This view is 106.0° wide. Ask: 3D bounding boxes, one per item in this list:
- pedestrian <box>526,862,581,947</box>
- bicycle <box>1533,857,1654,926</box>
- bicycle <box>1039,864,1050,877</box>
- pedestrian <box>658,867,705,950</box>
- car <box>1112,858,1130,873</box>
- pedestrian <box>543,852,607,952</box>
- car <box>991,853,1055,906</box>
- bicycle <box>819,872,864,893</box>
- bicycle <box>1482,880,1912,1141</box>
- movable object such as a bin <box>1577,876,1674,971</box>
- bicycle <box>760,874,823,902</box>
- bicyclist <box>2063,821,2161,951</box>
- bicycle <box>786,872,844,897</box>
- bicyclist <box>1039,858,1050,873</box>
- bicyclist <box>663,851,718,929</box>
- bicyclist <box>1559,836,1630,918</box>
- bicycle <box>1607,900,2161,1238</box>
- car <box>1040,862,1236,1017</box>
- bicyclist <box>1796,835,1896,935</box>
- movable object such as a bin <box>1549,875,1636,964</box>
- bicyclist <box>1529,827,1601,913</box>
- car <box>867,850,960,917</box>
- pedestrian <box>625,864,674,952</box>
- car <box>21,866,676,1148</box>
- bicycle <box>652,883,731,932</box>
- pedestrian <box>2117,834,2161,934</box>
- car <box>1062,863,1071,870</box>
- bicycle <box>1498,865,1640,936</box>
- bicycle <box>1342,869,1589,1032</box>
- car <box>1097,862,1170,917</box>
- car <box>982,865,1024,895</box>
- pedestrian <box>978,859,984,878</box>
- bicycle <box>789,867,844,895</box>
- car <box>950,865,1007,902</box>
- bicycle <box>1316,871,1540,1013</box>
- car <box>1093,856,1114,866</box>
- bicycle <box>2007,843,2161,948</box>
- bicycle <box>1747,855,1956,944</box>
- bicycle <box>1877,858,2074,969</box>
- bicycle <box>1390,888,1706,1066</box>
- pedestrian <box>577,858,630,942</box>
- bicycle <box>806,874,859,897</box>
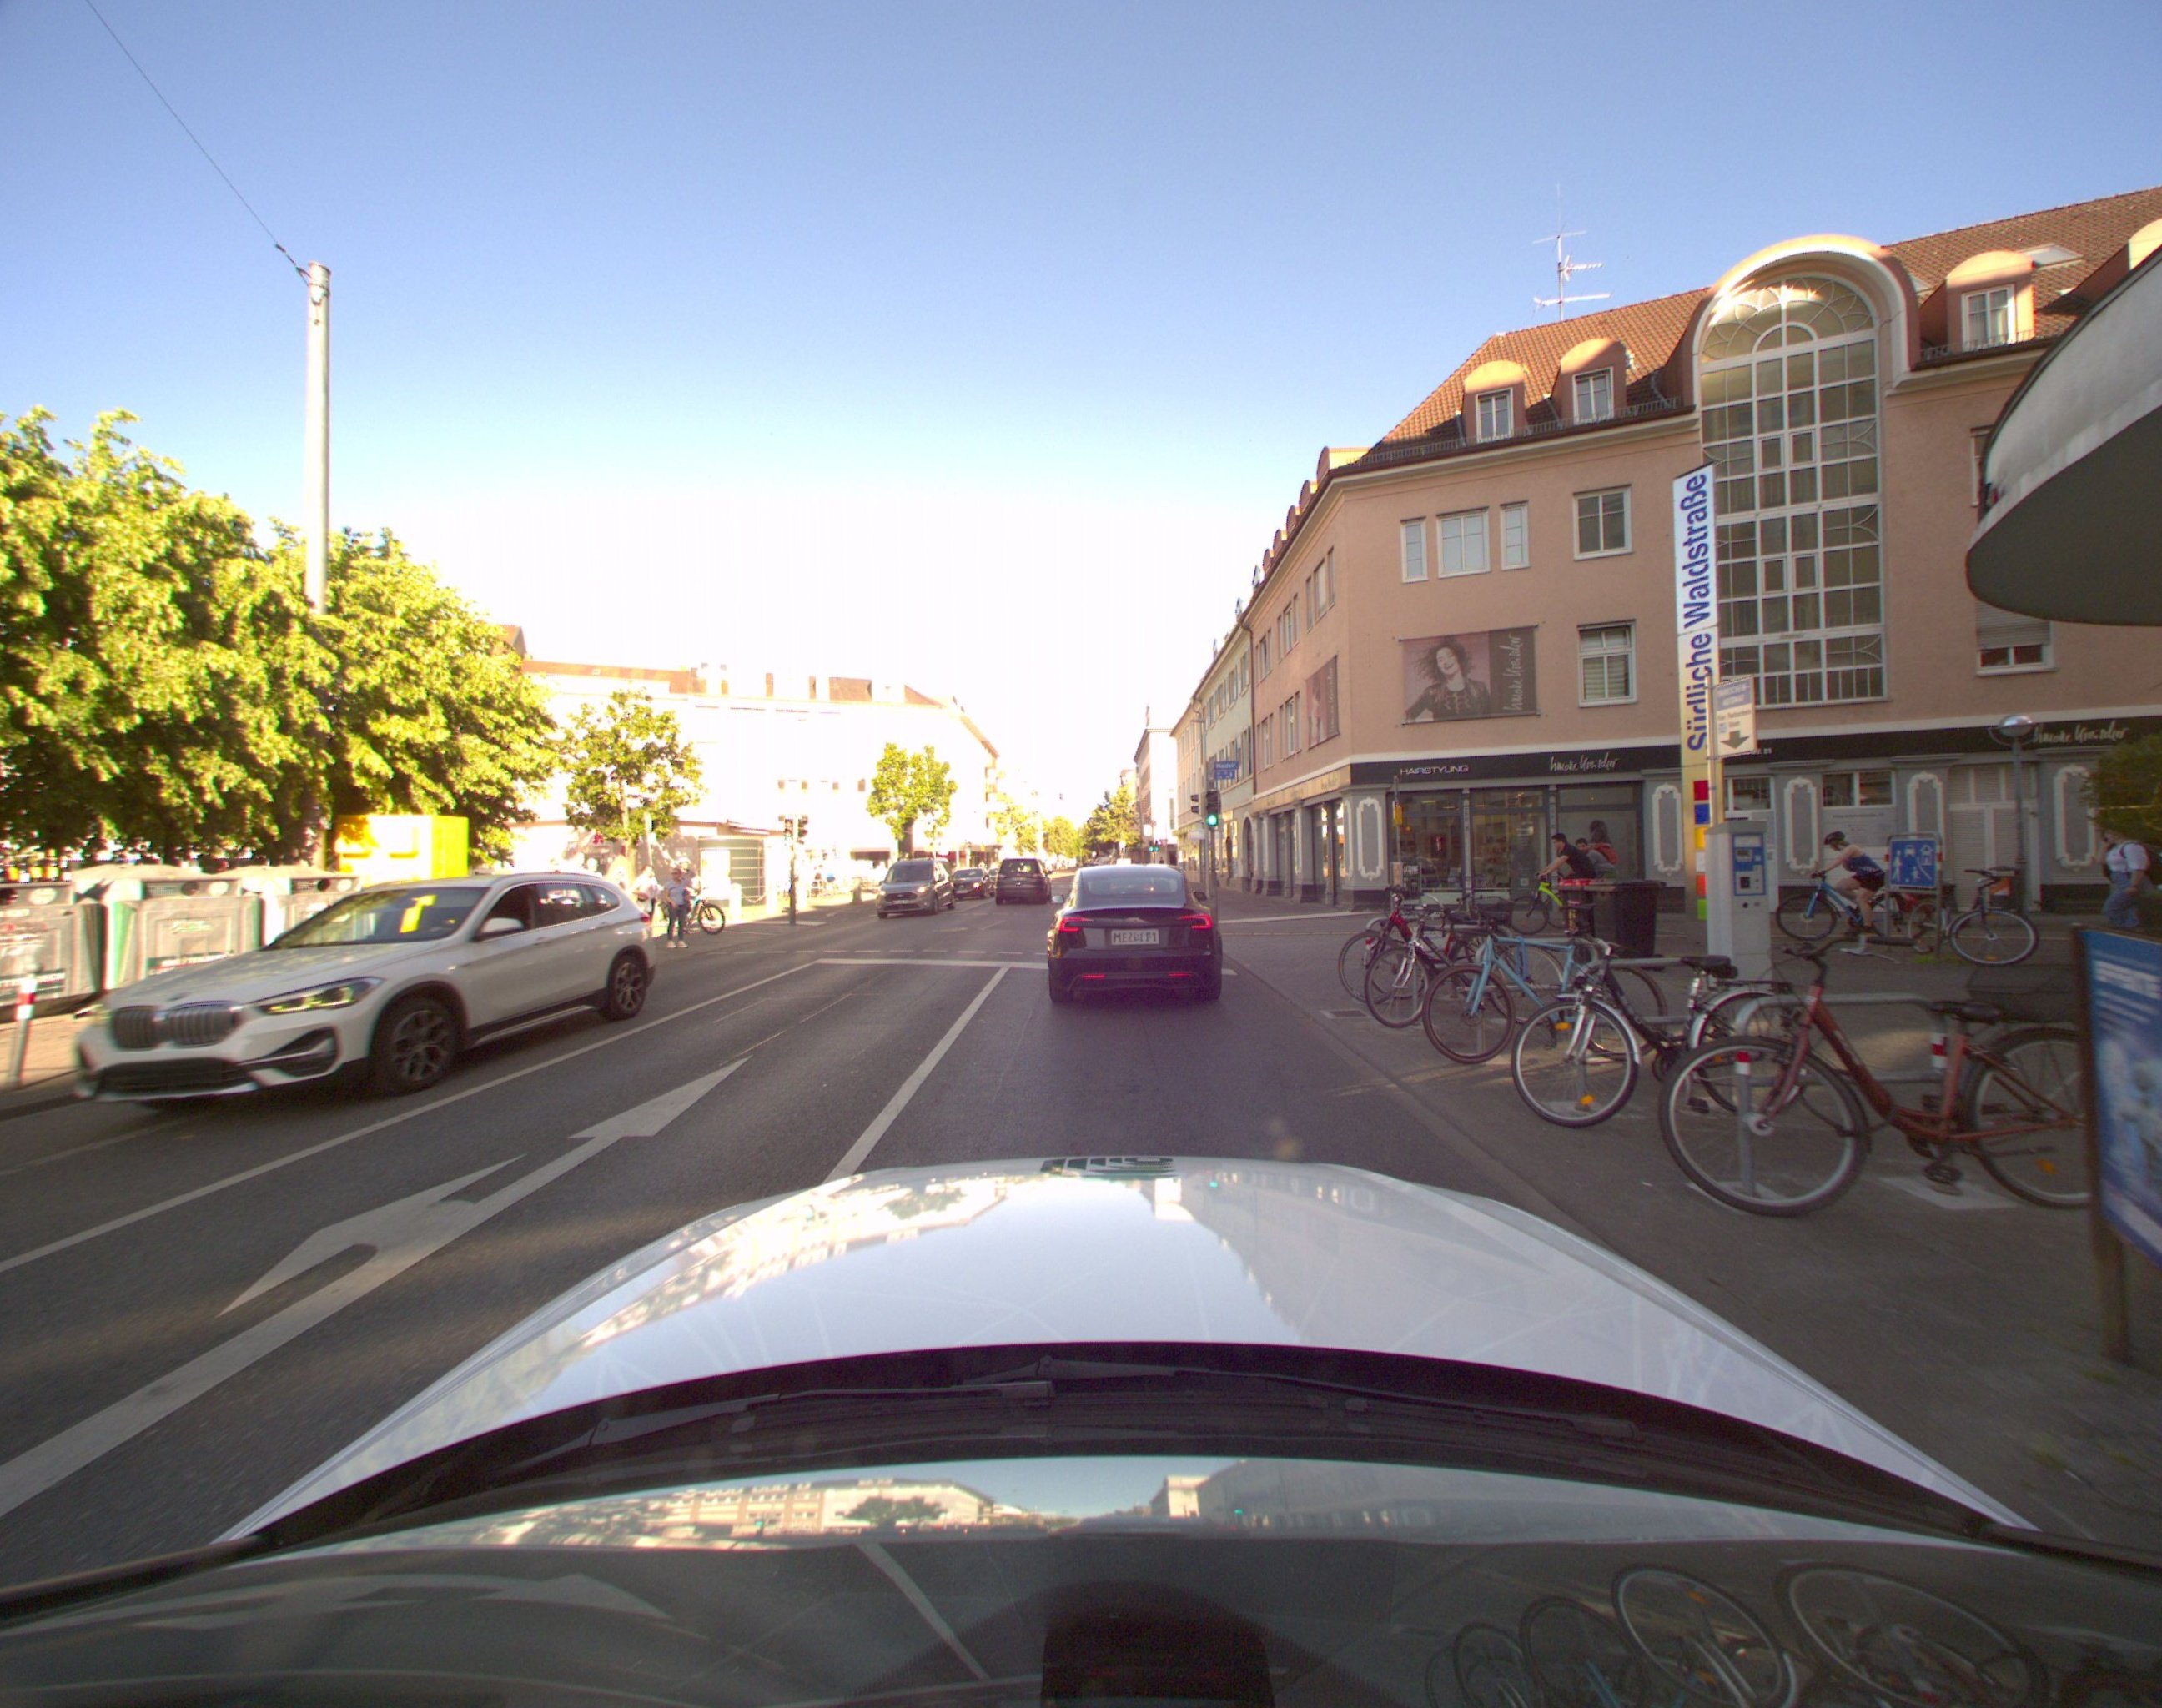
[{"bbox_3d":[-11.317,1.057,17.467,0.885,1.768,0.657,-2,-1,32],"label":"pedestrian"},{"bbox_3d":[9.428,0.685,15.056,1.778,1.222,0.684,-1,-1,20],"label":"bicycle"},{"bbox_3d":[-3.952,1.837,89.165,1.108,1.344,3.998,-1,0,-1],"label":"bicycle"},{"bbox_3d":[-8.275,1.105,16.861,0.676,1.663,0.625,-2,-1,37],"label":"pedestrian"},{"bbox_3d":[4.551,1.290,94.231,1.986,1.629,4.001,-1,-1,2],"label":"car"},{"bbox_3d":[-10.190,0.939,16.413,0.823,1.955,0.712,0,-1,13],"label":"pedestrian"},{"bbox_3d":[-2.118,0.902,30.800,1.987,1.772,4.728,-2,0,0],"label":"car"},{"bbox_3d":[-13.515,1.614,46.043,2.319,1.156,0.841,-1,-1,-4],"label":"bicycle"},{"bbox_3d":[3.318,0.826,4.559,1.713,1.268,0.792,-3,-1,7],"label":"bicycle"},{"bbox_3d":[6.505,0.811,9.758,0.749,1.092,0.628,0,-1,3],"label":"movable object such as a bin"},{"bbox_3d":[-12.903,1.512,36.375,2.497,1.156,0.842,-1,-1,0],"label":"bicycle"},{"bbox_3d":[13.446,0.400,10.509,0.826,1.625,0.577,-1,-1,31],"label":"bicyclist"},{"bbox_3d":[-12.703,1.462,38.906,2.453,1.156,0.842,-1,-1,0],"label":"bicycle"},{"bbox_3d":[-3.974,1.222,89.263,1.123,1.628,0.965,-1,-1,-2],"label":"bicyclist"},{"bbox_3d":[-9.473,0.861,19.779,0.941,1.838,0.793,0,-1,25],"label":"bicyclist"},{"bbox_3d":[9.456,0.420,15.030,0.938,1.449,0.810,-1,-1,21],"label":"bicyclist"},{"bbox_3d":[3.417,0.850,3.423,1.876,1.193,0.693,-3,0,7],"label":"bicycle"},{"bbox_3d":[0.598,0.837,9.780,1.841,1.455,4.001,-1,-1,2],"label":"car"},{"bbox_3d":[11.365,0.446,12.131,0.914,1.414,0.811,-2,-1,32],"label":"bicyclist"},{"bbox_3d":[6.512,0.818,10.395,0.730,1.092,0.628,0,-1,3],"label":"movable object such as a bin"},{"bbox_3d":[8.314,0.276,14.019,0.915,1.414,0.810,-1,-1,21],"label":"bicyclist"},{"bbox_3d":[-5.303,0.885,26.418,1.827,1.845,4.675,-5,0,1],"label":"car"},{"bbox_3d":[-8.666,1.065,16.364,0.541,1.728,0.679,-2,-1,34],"label":"pedestrian"},{"bbox_3d":[-5.630,0.984,7.230,1.801,1.555,4.309,-5,0,0],"label":"car"},{"bbox_3d":[-9.515,1.280,19.877,2.042,1.139,0.541,-1,-1,25],"label":"bicycle"},{"bbox_3d":[17.183,0.458,12.856,0.741,1.552,0.702,-1,-1,19],"label":"pedestrian"},{"bbox_3d":[-3.227,2.730,180.740,1.988,1.637,3.998,-1,-1,-1],"label":"car"},{"bbox_3d":[8.327,0.795,14.009,1.951,1.149,0.795,-2,-1,20],"label":"bicycle"},{"bbox_3d":[3.275,0.804,7.092,1.738,1.267,0.782,-3,-1,4],"label":"bicycle"},{"bbox_3d":[1.535,1.011,25.117,1.987,1.512,4.175,-1,0,0],"label":"car"},{"bbox_3d":[-4.483,1.473,47.525,1.988,1.436,4.672,-5,0,-1],"label":"car"},{"bbox_3d":[-10.464,1.541,85.365,0.573,2.014,0.827,0,-1,-2],"label":"pedestrian"},{"bbox_3d":[-13.239,1.330,40.851,2.472,1.324,0.921,-1,-1,-4],"label":"bicycle"},{"bbox_3d":[-4.665,1.320,37.780,1.988,1.410,4.672,-5,0,-1],"label":"car"},{"bbox_3d":[3.388,0.851,8.120,1.851,1.258,0.834,-3,-1,7],"label":"bicycle"},{"bbox_3d":[4.445,1.416,161.072,3.974,2.014,2.000,-1,0,0],"label":"car"},{"bbox_3d":[13.573,0.521,10.456,2.118,1.316,0.588,-1,-1,31],"label":"bicycle"},{"bbox_3d":[11.366,0.654,12.133,2.151,1.222,0.685,-1,-1,33],"label":"bicycle"},{"bbox_3d":[10.789,0.655,9.949,0.653,1.199,2.223,-1,-1,21],"label":"bicycle"},{"bbox_3d":[3.294,0.858,5.911,1.788,1.124,0.783,-3,-1,7],"label":"bicycle"},{"bbox_3d":[-10.721,1.019,18.291,0.835,1.827,0.746,-2,-1,35],"label":"pedestrian"},{"bbox_3d":[-13.292,1.664,43.608,2.528,1.156,0.841,-1,-1,-4],"label":"bicycle"}]
